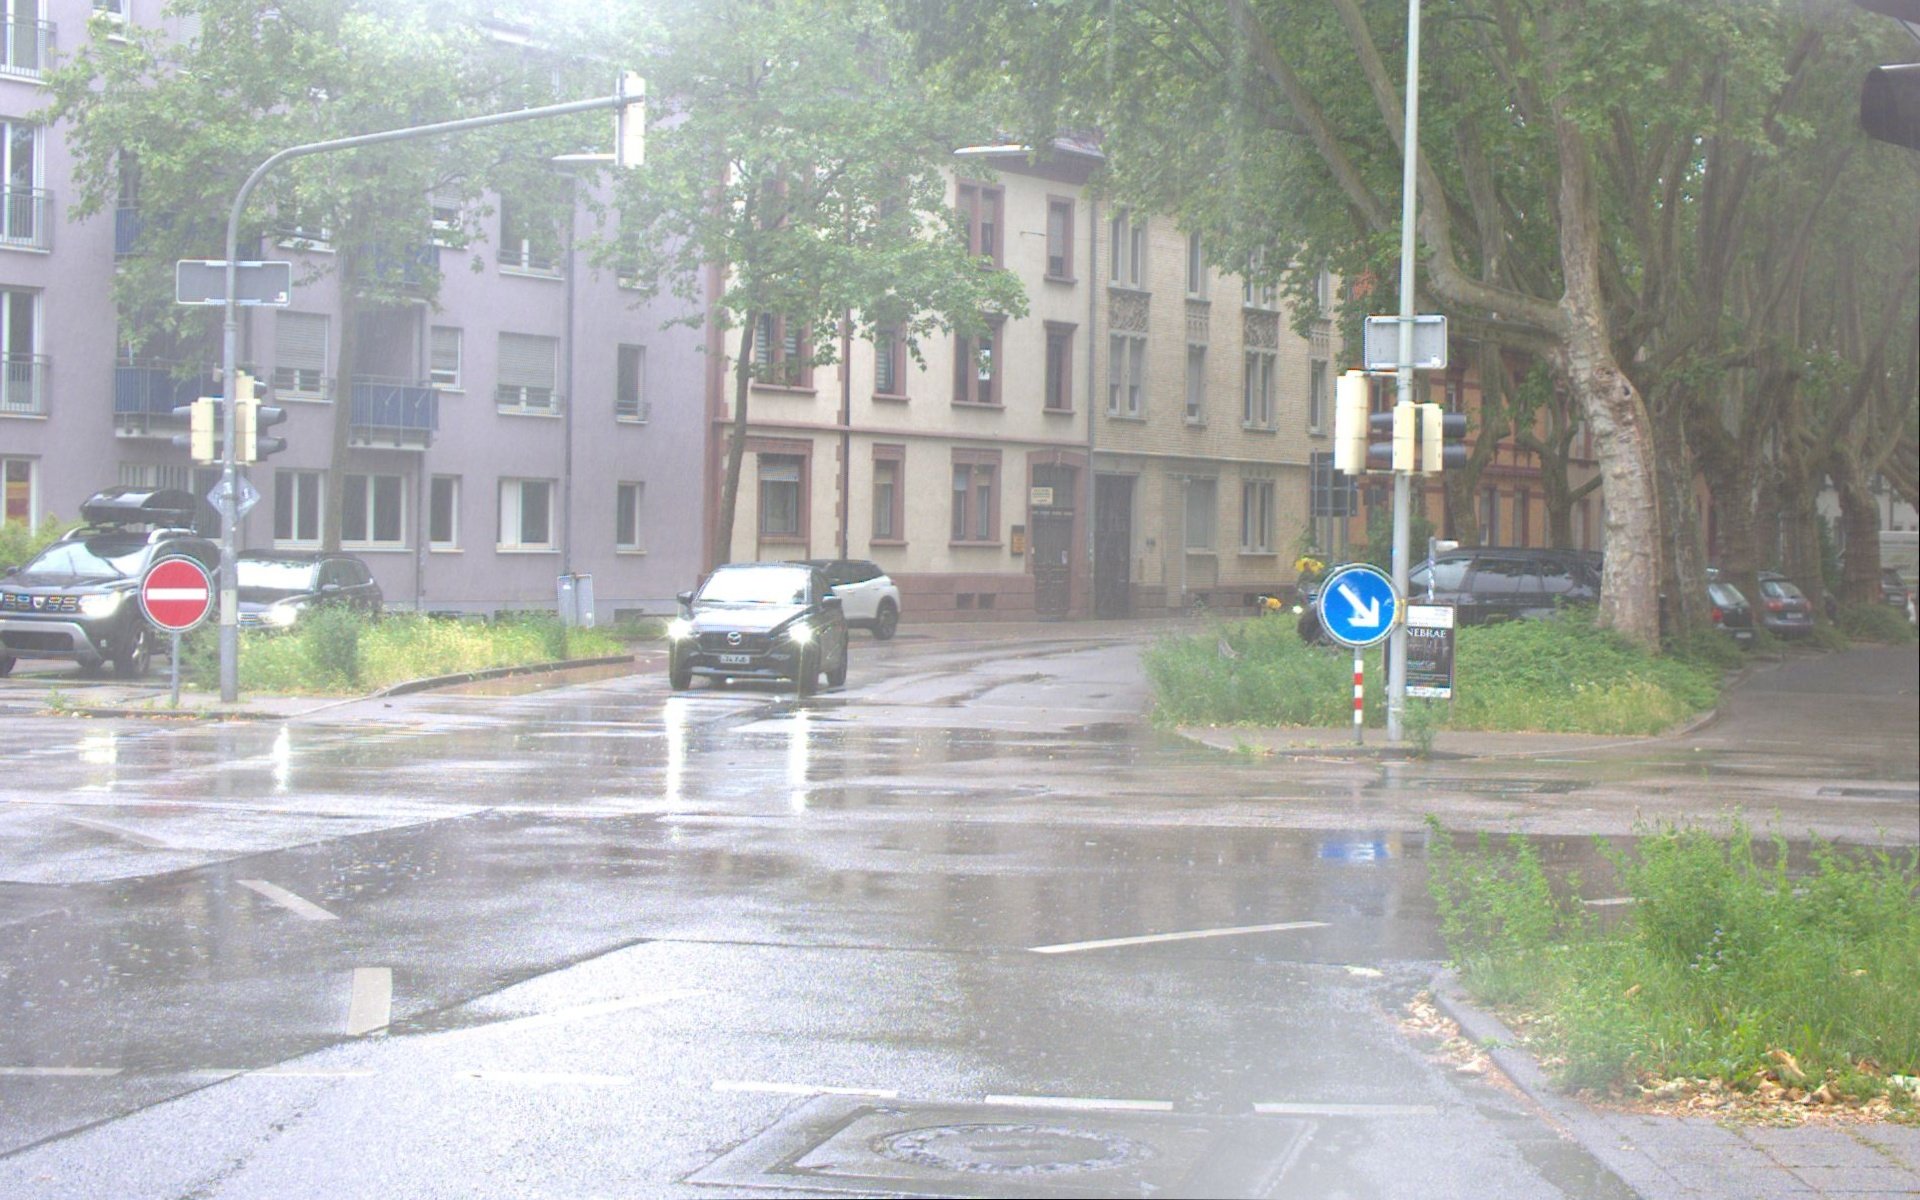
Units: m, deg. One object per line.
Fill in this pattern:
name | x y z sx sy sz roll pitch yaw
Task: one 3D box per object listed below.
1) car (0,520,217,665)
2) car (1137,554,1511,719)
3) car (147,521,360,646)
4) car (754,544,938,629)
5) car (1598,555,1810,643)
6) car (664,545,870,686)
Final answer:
car | -9.781 -0.113 38.781 1.725 1.547 3.559 -1 1 5
car | 3.513 0.338 32.986 3.480 1.518 1.519 -1 1 9
car | -9.172 -0.242 44.888 1.725 1.547 3.559 -1 1 5
car | -2.152 -0.277 66.231 1.679 1.547 4.192 0 1 28
car | 14.184 -0.032 65.560 3.611 1.612 1.679 0 1 28
car | -2.224 0.150 40.491 1.603 1.547 3.558 0 1 10
